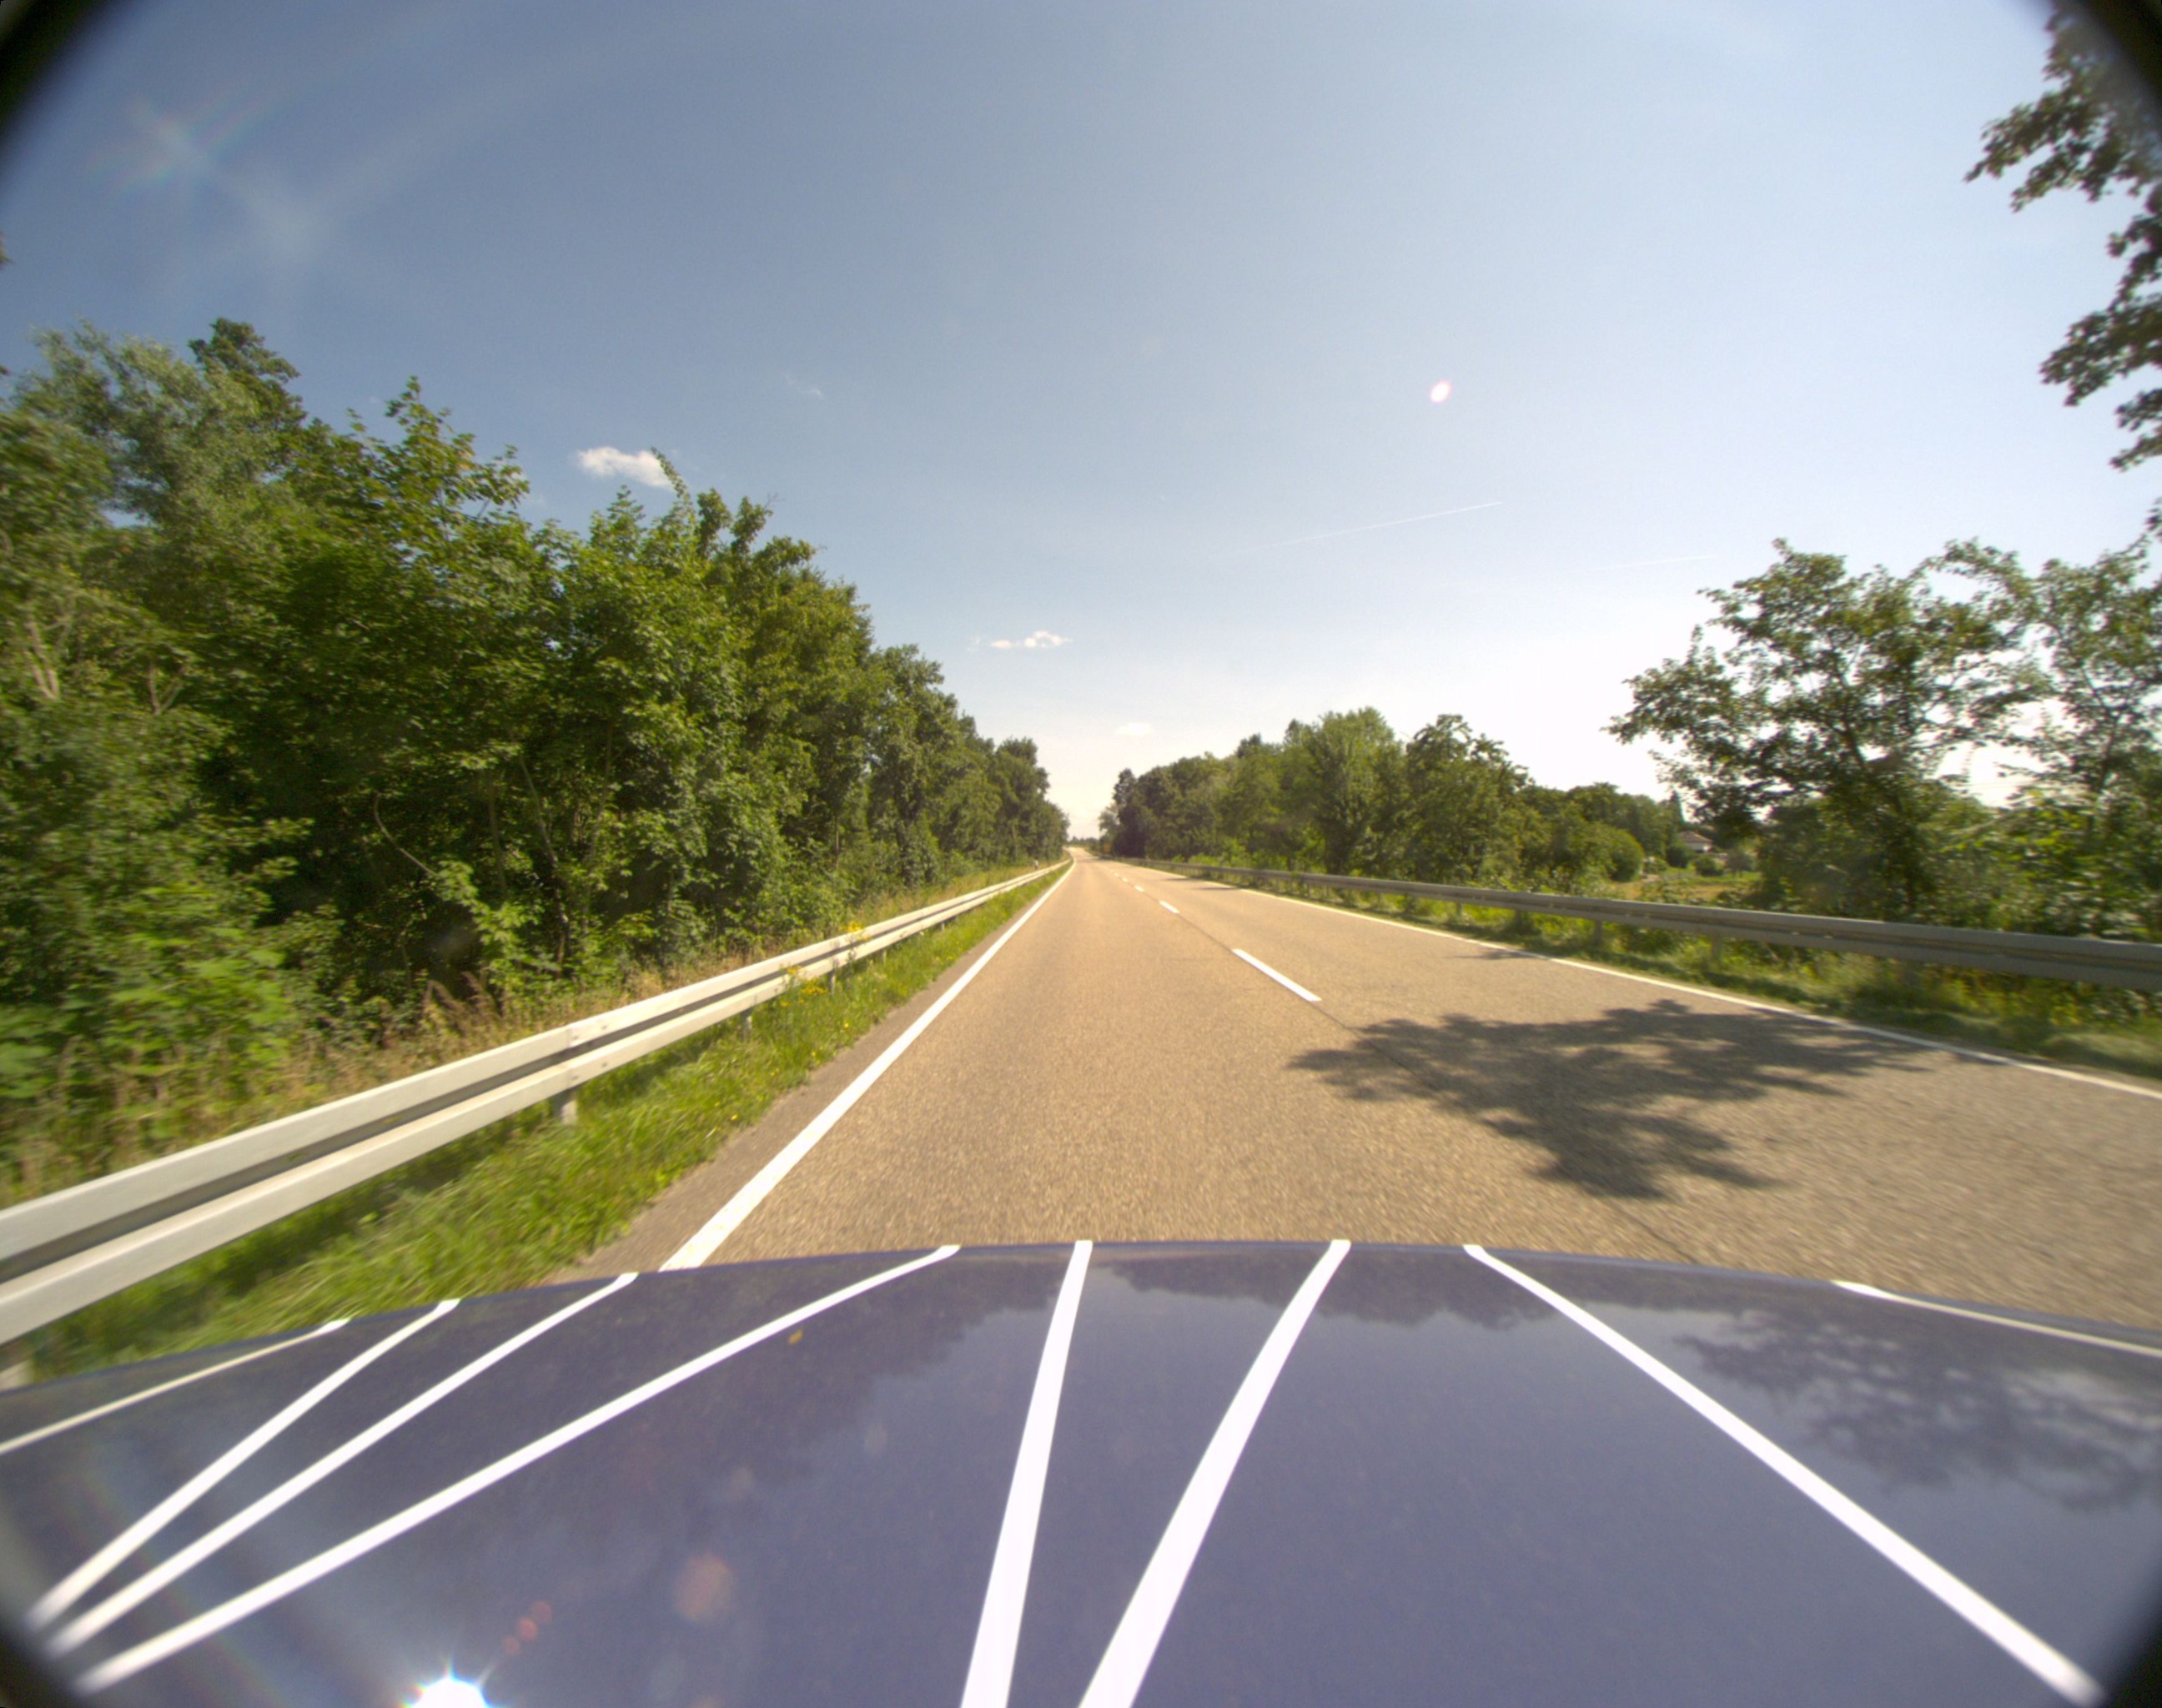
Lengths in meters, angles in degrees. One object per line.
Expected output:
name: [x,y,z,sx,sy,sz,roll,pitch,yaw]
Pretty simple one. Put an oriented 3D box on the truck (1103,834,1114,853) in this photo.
truck: [8.920,-3.195,244.249,3.067,5.870,8.798,-2,1,1]
